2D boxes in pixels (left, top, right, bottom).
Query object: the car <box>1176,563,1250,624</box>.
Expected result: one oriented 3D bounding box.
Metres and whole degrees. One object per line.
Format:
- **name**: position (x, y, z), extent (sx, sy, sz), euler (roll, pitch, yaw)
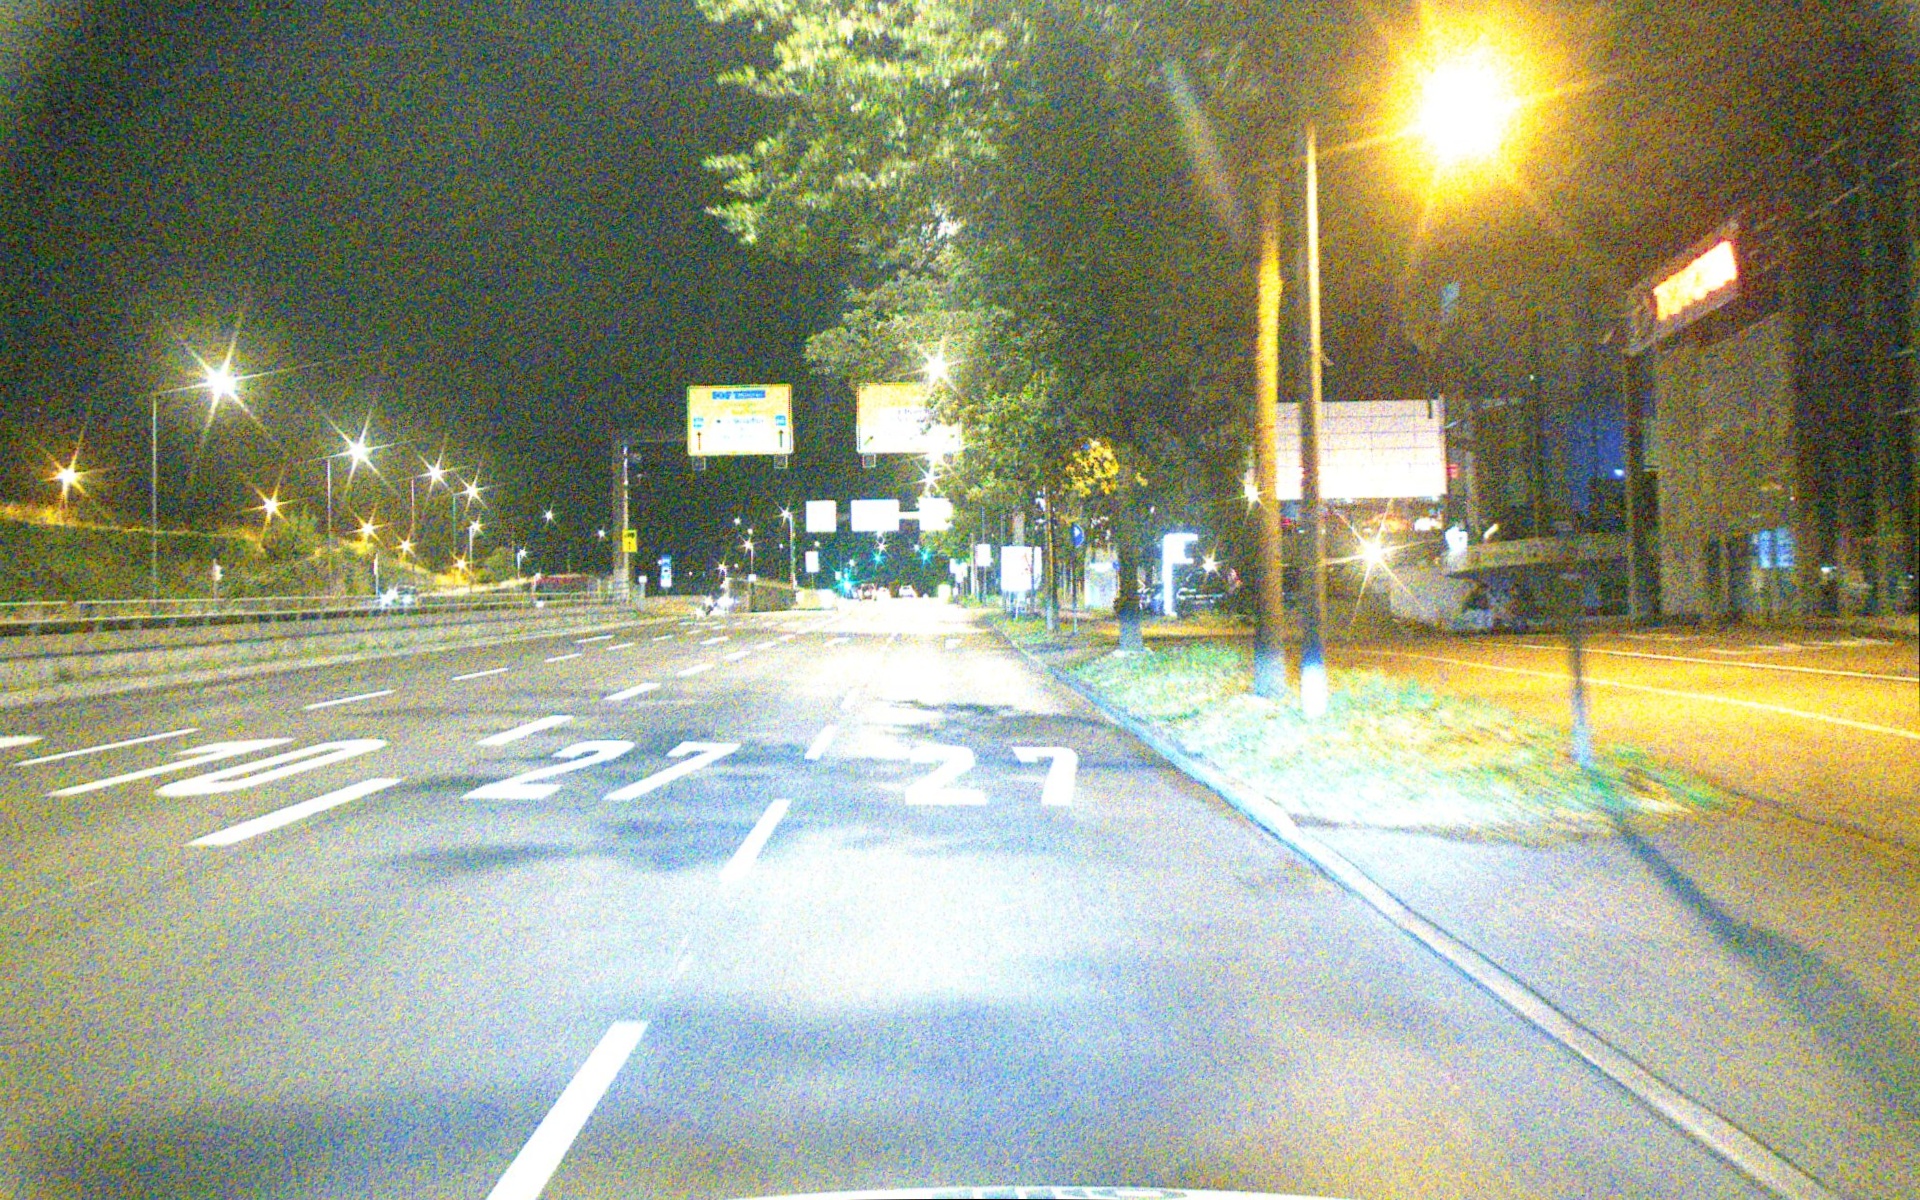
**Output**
- **car**: position (8.620, -0.189, 56.128), extent (1.951, 1.979, 4.002), euler (0, -1, 16)
